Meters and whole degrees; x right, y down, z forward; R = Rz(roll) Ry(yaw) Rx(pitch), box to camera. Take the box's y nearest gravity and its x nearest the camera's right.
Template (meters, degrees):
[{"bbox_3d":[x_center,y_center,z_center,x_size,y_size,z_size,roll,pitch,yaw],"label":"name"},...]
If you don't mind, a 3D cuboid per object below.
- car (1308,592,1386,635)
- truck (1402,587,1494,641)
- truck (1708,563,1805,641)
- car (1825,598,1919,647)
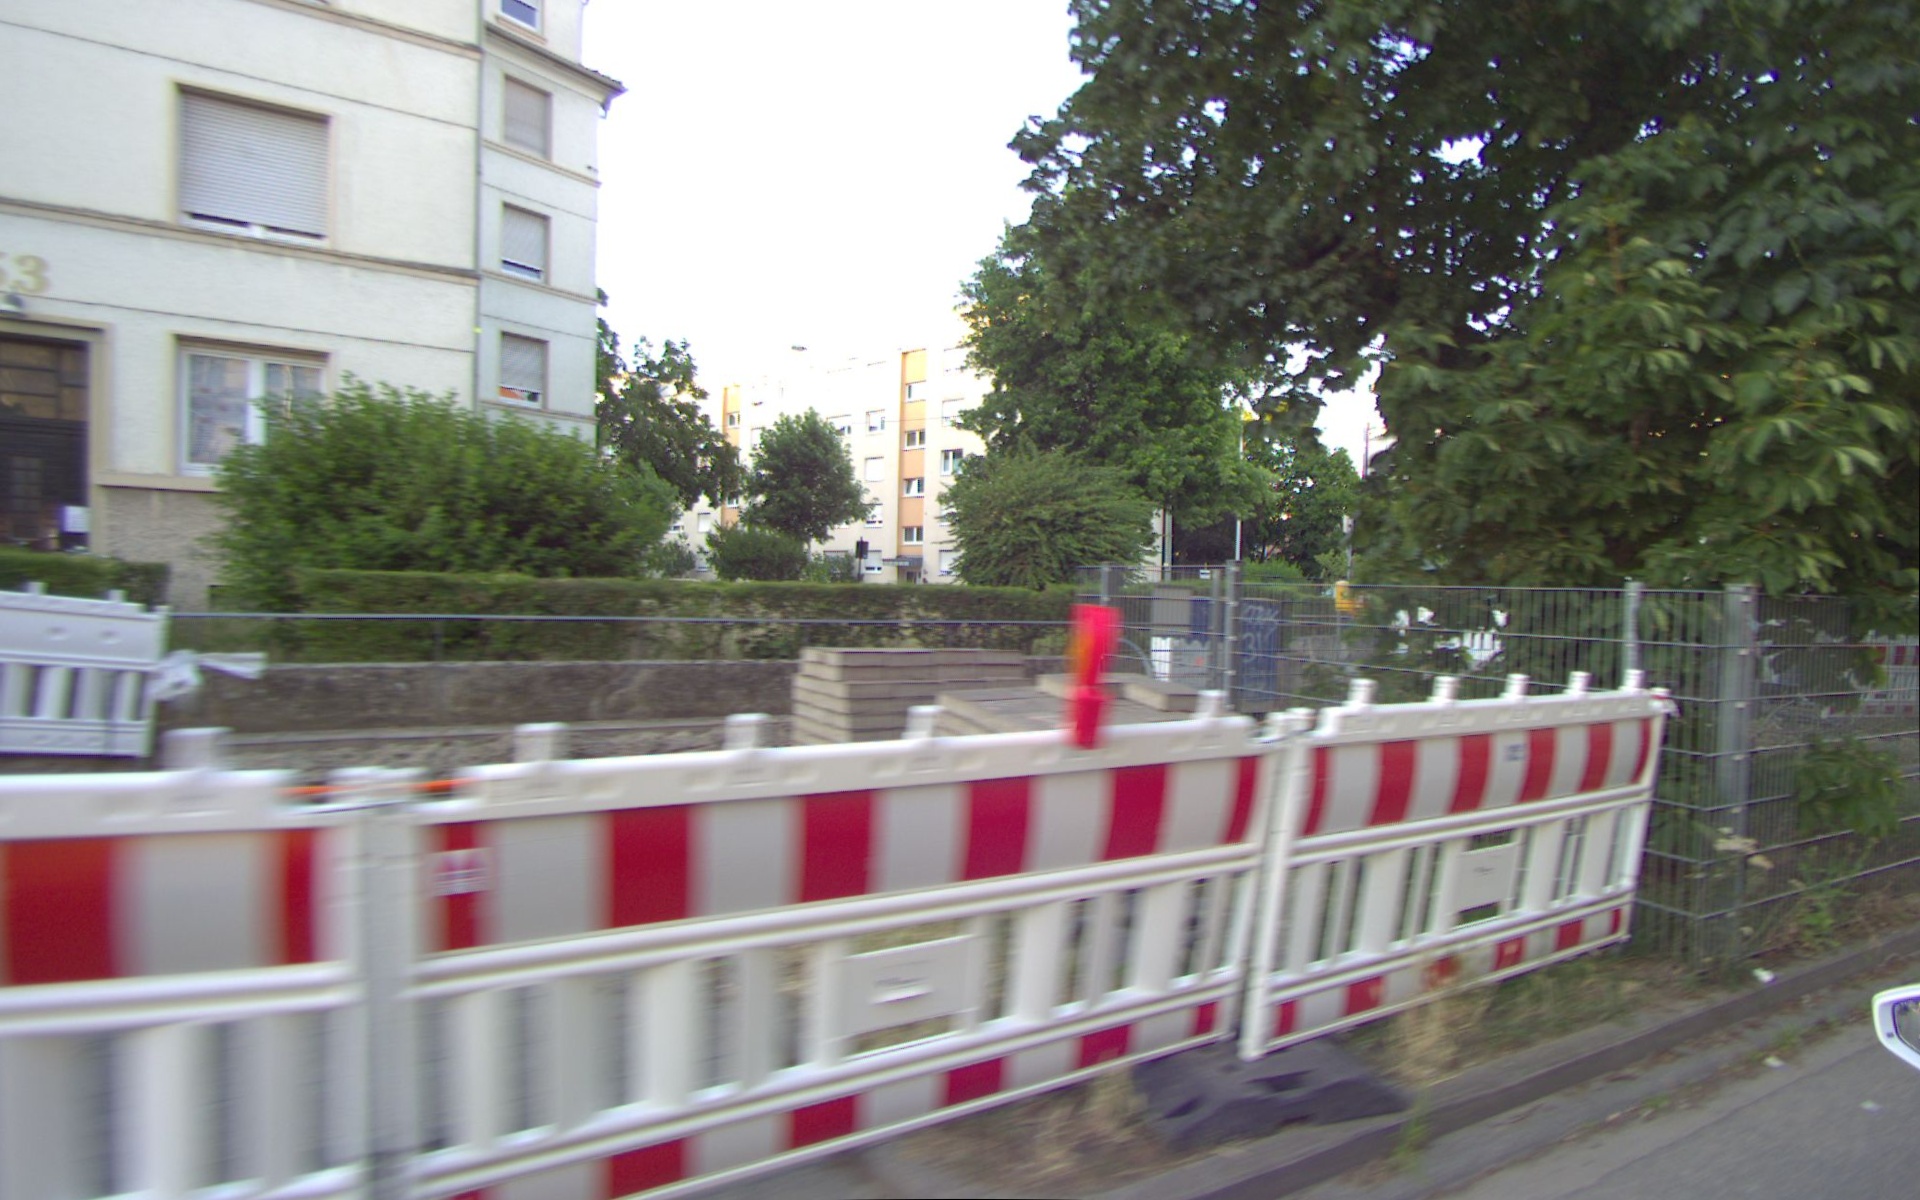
[{"bbox_3d":[17.865,0.605,46.301,1.971,1.850,4.203,2,1,42],"label":"car"},{"bbox_3d":[20.785,0.583,42.733,4.482,2.118,2.085,1,1,-44],"label":"truck"},{"bbox_3d":[29.057,0.057,36.579,2.309,2.652,4.943,2,1,43],"label":"truck"},{"bbox_3d":[30.594,0.738,32.668,1.627,1.524,3.594,1,1,-45],"label":"car"}]
